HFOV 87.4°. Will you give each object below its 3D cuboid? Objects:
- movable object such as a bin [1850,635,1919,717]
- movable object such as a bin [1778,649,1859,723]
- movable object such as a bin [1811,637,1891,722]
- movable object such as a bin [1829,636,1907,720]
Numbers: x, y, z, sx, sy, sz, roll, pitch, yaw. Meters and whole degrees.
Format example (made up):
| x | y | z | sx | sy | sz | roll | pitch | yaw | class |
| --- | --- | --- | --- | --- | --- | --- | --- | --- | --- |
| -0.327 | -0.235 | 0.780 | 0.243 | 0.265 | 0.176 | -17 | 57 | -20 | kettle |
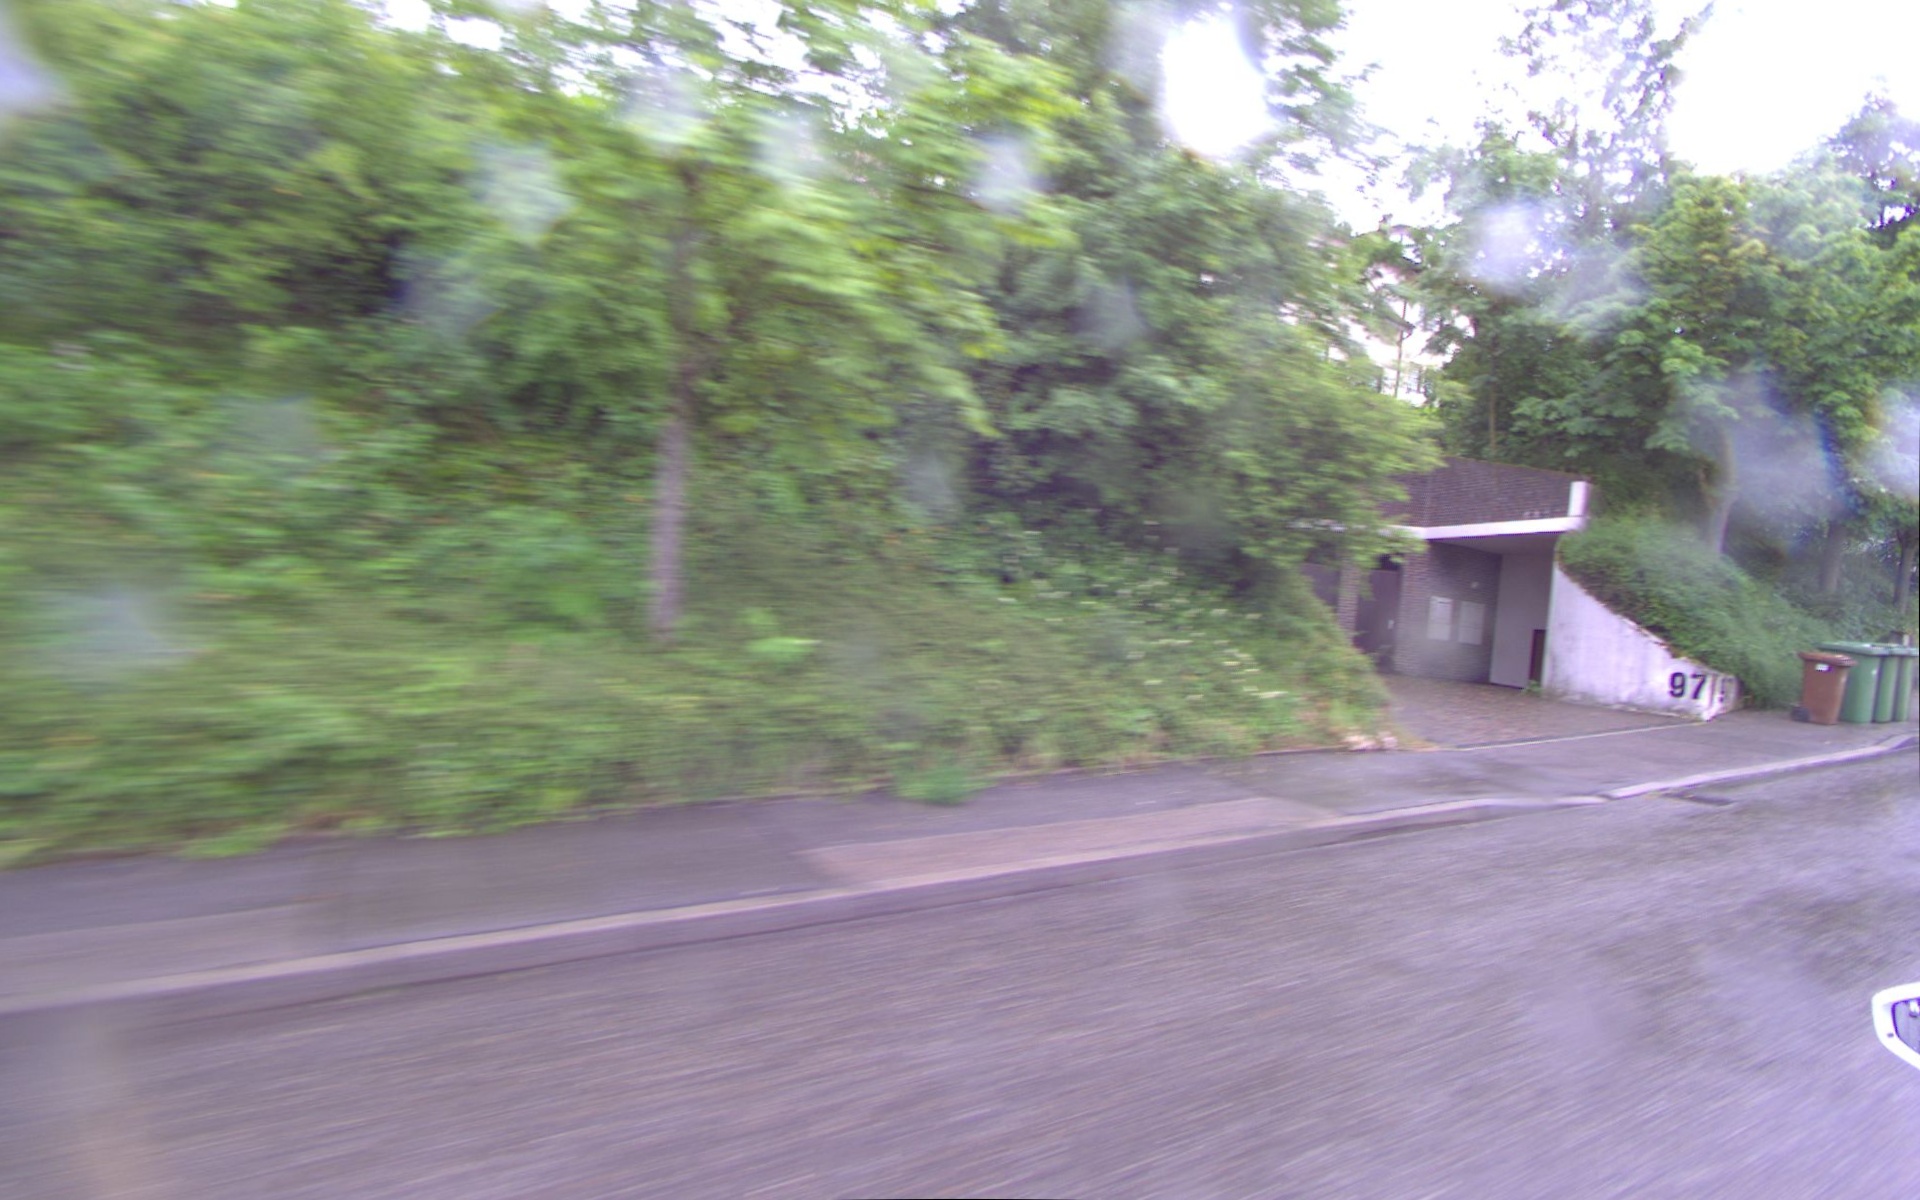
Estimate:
| x | y | z | sx | sy | sz | roll | pitch | yaw | class |
| --- | --- | --- | --- | --- | --- | --- | --- | --- | --- |
| 13.419 | 1.085 | 14.551 | 0.500 | 1.130 | 0.644 | 1 | 1 | -33 | movable object such as a bin |
| 11.566 | 1.144 | 13.538 | 0.666 | 0.923 | 0.644 | 1 | 1 | -33 | movable object such as a bin |
| 12.289 | 1.077 | 13.852 | 0.666 | 1.095 | 0.644 | 1 | 1 | -33 | movable object such as a bin |
| 12.899 | 1.086 | 14.269 | 0.666 | 1.119 | 0.644 | 1 | 1 | -33 | movable object such as a bin |
